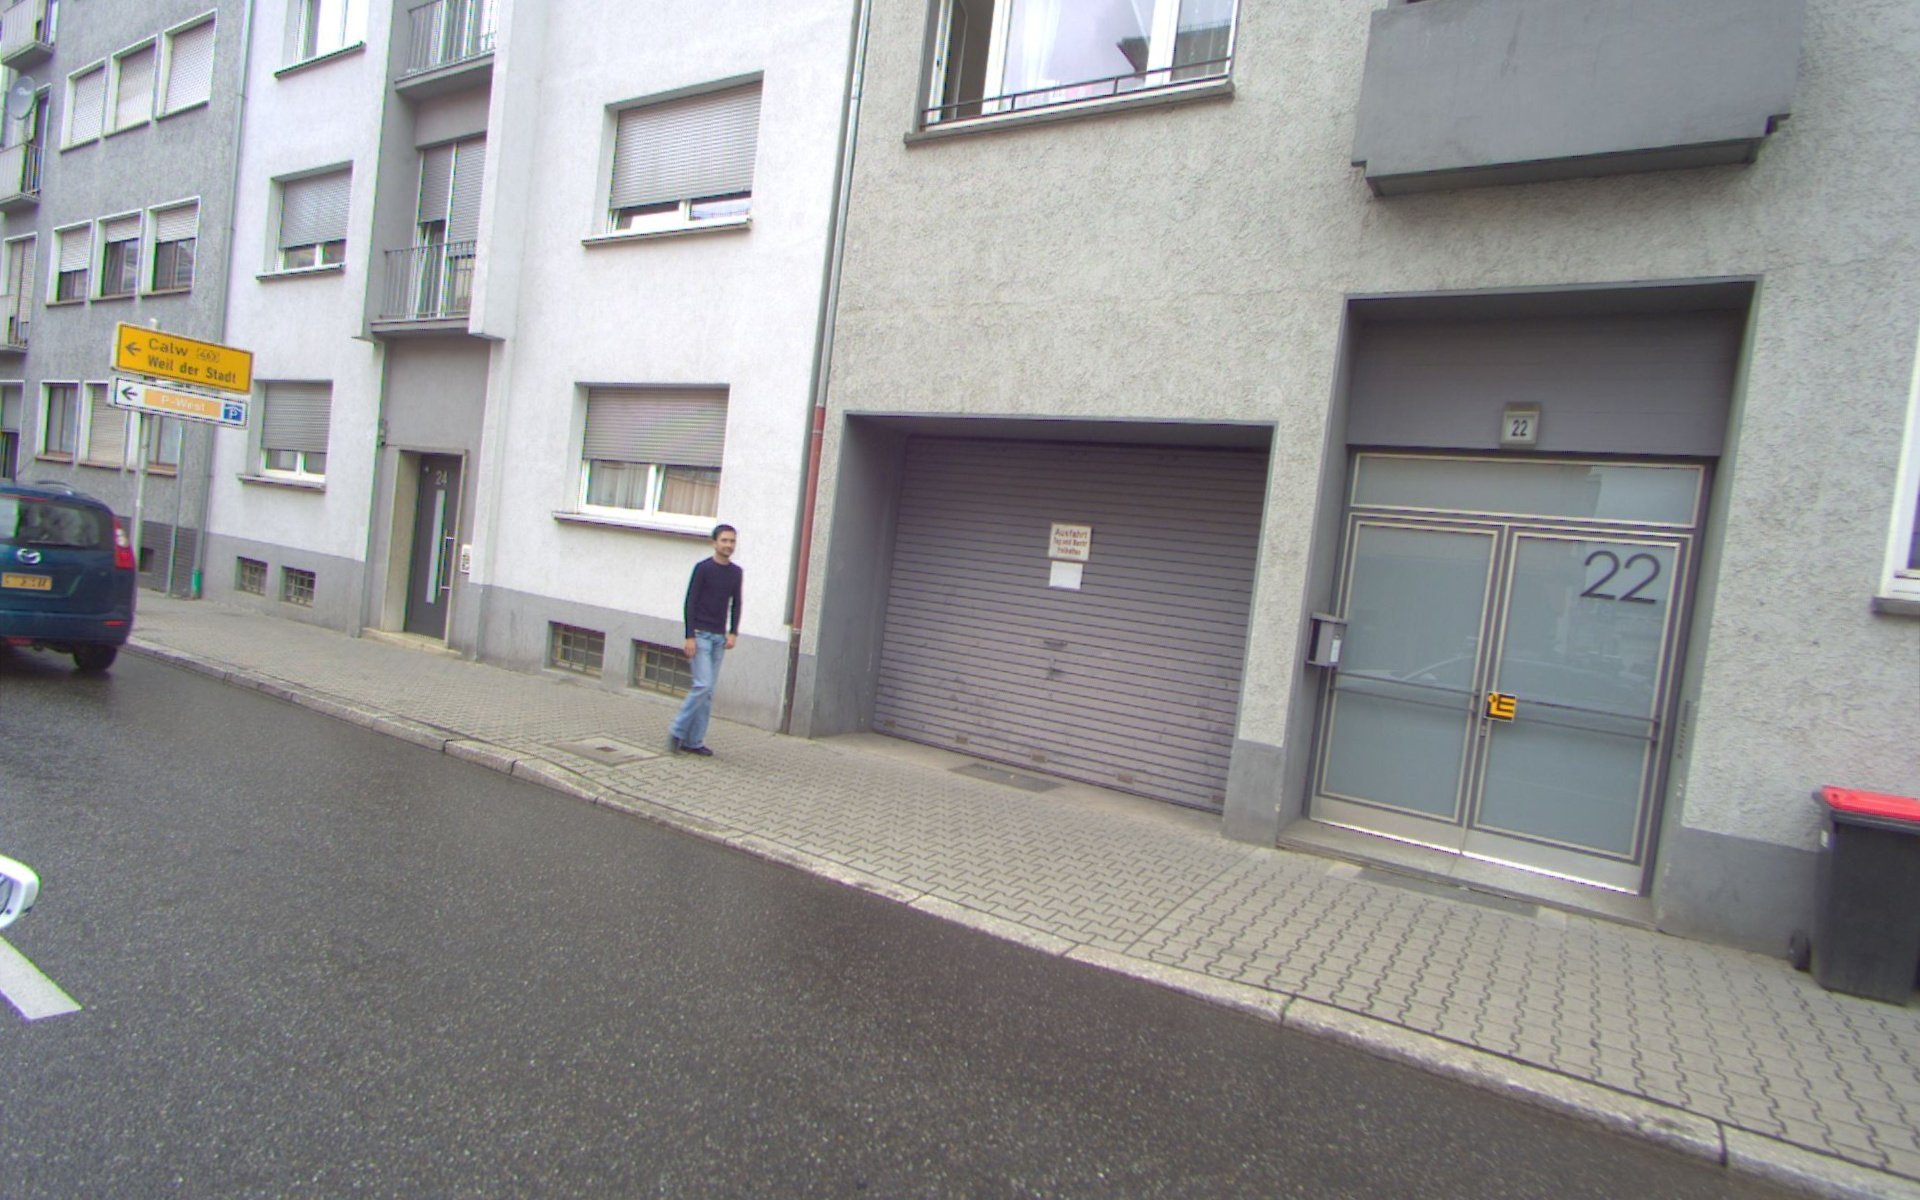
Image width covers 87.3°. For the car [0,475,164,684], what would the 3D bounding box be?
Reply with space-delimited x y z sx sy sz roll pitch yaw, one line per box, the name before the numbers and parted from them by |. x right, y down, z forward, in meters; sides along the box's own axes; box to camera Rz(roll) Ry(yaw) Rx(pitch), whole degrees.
car | -9.249 -0.354 9.182 4.144 1.625 1.810 7 -1 34

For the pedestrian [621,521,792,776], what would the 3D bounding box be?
pedestrian | -1.983 0.343 7.862 1.039 1.802 0.643 7 4 31

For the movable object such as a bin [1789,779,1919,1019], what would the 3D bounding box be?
movable object such as a bin | 4.480 1.436 4.907 0.507 0.969 0.539 7 4 32
